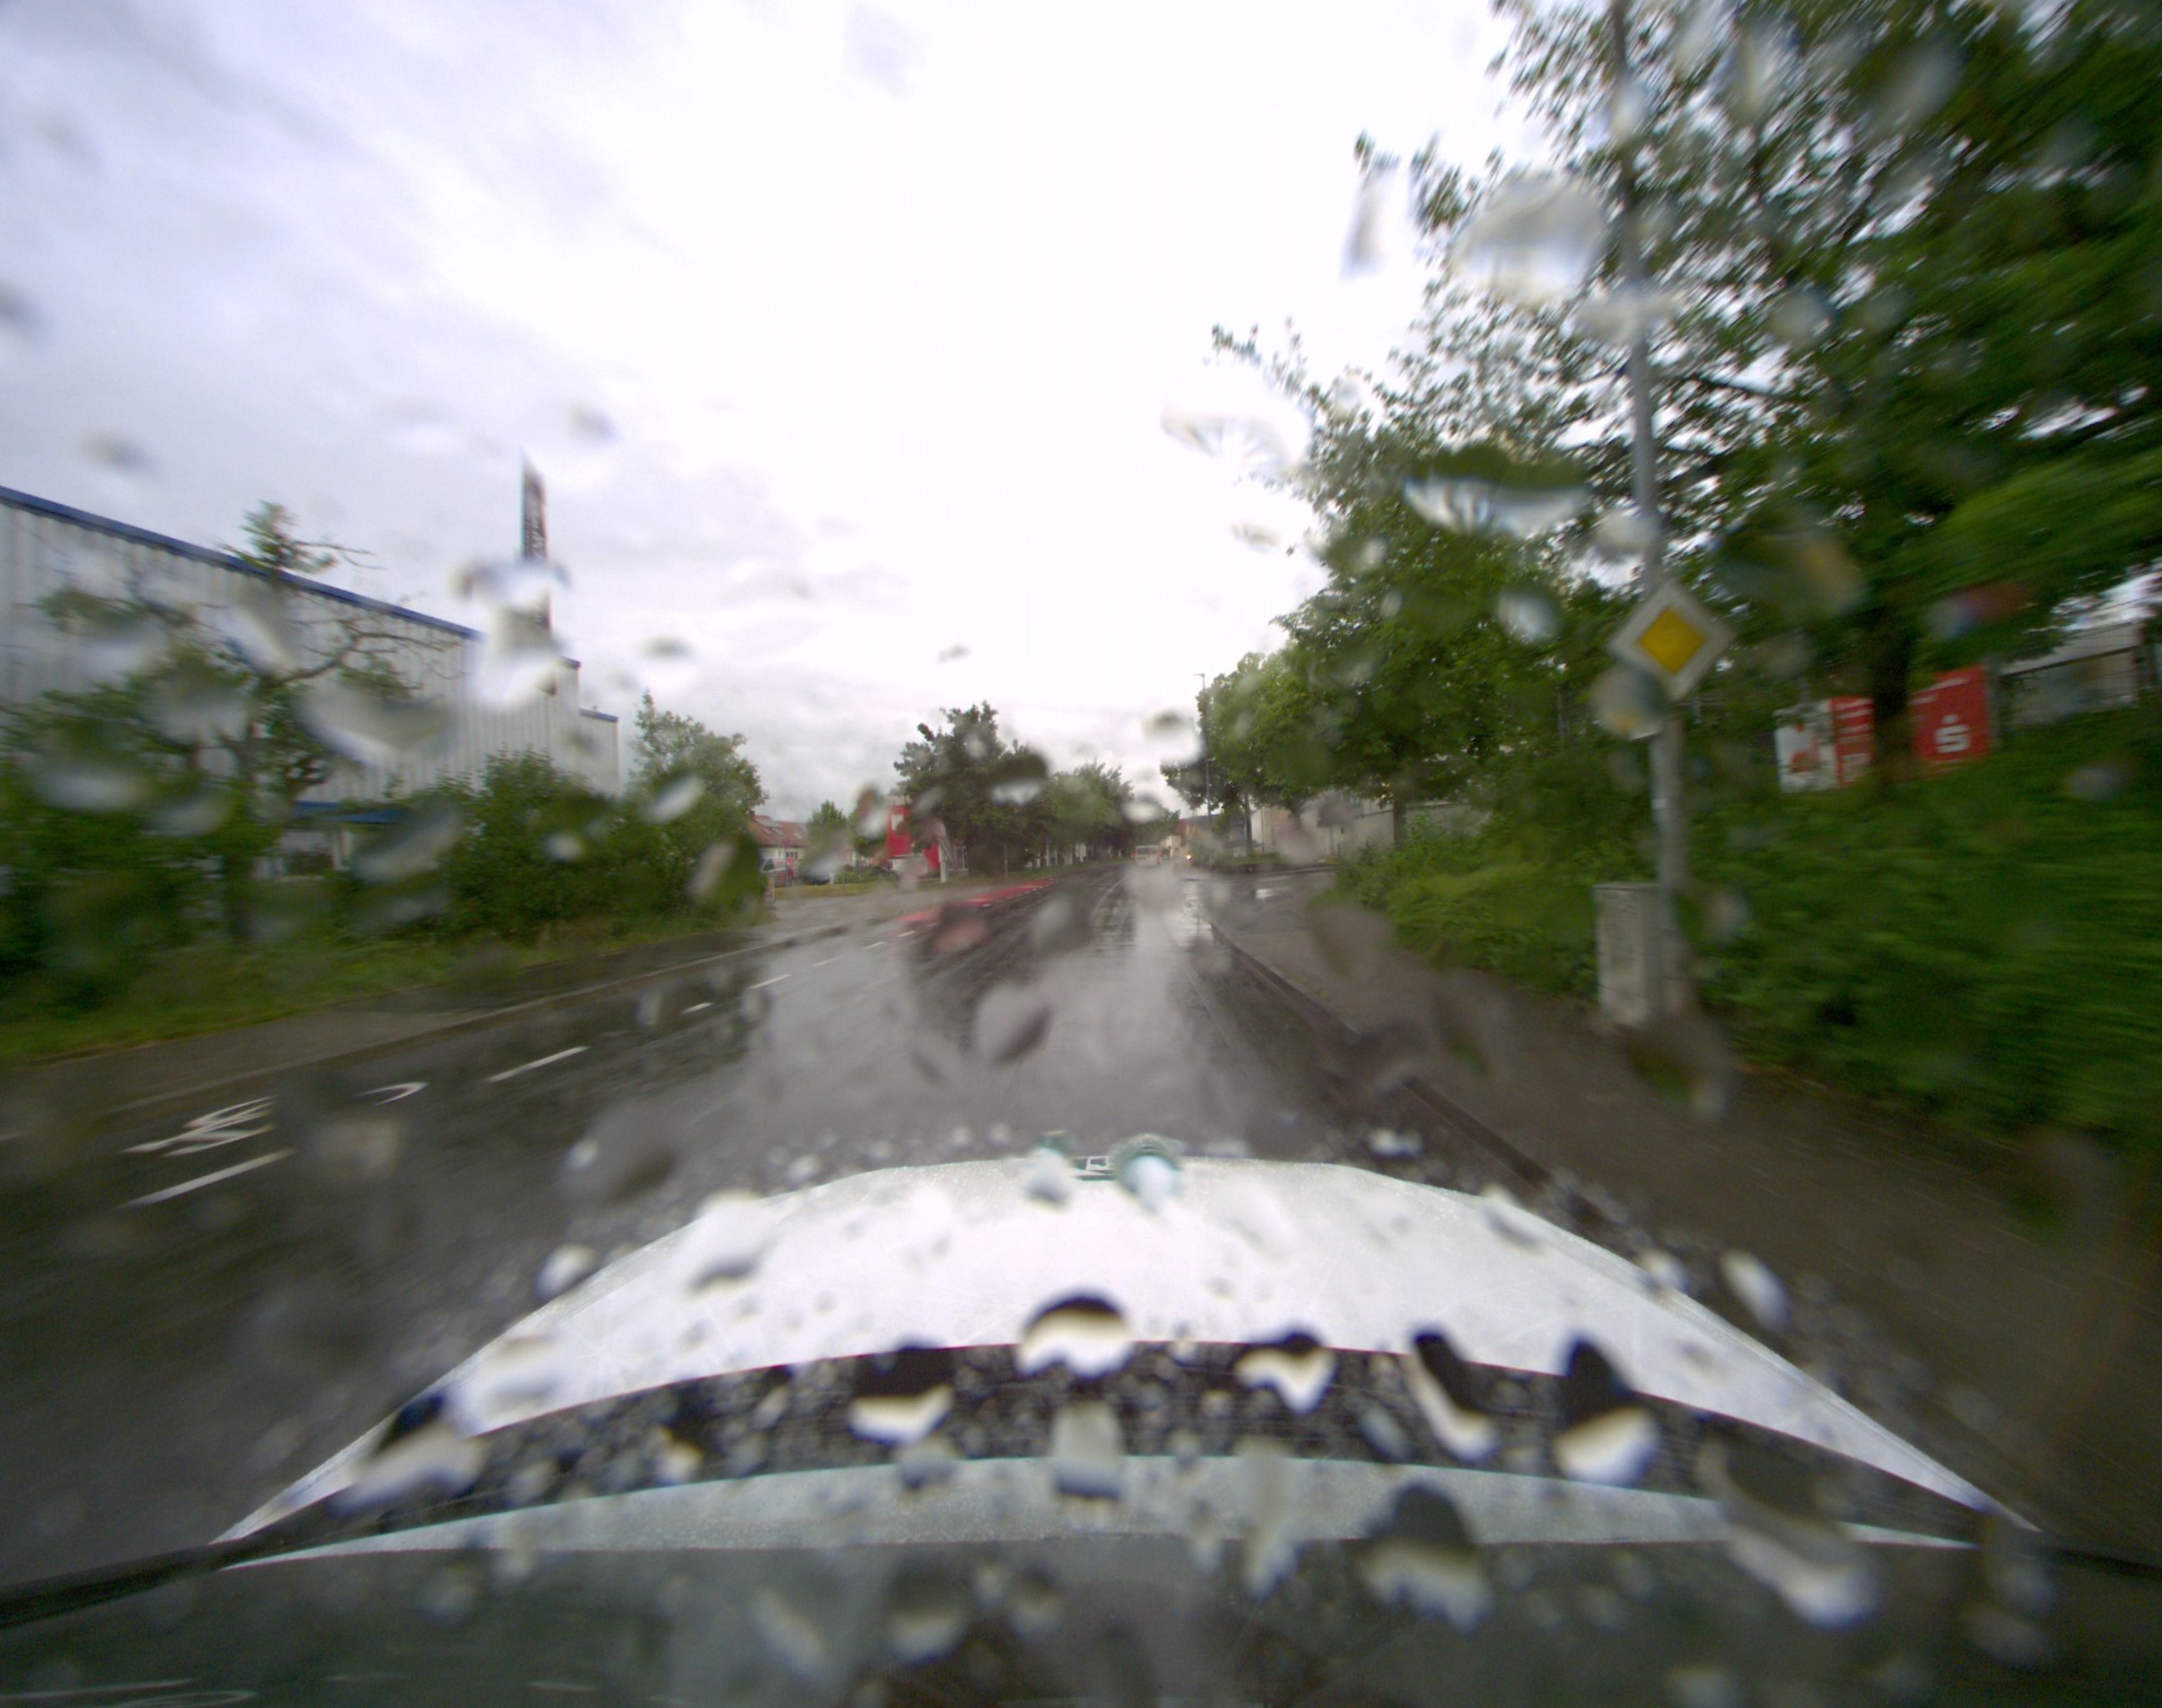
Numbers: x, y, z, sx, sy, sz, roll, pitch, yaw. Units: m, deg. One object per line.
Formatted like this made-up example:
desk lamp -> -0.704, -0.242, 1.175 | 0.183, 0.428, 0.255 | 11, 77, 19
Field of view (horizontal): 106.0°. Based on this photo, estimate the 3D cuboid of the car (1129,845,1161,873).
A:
car -> 4.657, 0.313, 60.065 | 2.109, 1.888, 4.504 | -1, 1, 2

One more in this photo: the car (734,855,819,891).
car -> -17.348, 1.036, 46.798 | 2.022, 1.822, 5.623 | -1, 1, 8

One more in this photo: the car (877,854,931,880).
car -> -16.831, 1.211, 77.488 | 4.450, 2.310, 2.191 | -1, 1, 10

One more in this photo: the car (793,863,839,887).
car -> -18.862, 1.465, 58.243 | 2.110, 1.556, 4.161 | -2, 1, -4
